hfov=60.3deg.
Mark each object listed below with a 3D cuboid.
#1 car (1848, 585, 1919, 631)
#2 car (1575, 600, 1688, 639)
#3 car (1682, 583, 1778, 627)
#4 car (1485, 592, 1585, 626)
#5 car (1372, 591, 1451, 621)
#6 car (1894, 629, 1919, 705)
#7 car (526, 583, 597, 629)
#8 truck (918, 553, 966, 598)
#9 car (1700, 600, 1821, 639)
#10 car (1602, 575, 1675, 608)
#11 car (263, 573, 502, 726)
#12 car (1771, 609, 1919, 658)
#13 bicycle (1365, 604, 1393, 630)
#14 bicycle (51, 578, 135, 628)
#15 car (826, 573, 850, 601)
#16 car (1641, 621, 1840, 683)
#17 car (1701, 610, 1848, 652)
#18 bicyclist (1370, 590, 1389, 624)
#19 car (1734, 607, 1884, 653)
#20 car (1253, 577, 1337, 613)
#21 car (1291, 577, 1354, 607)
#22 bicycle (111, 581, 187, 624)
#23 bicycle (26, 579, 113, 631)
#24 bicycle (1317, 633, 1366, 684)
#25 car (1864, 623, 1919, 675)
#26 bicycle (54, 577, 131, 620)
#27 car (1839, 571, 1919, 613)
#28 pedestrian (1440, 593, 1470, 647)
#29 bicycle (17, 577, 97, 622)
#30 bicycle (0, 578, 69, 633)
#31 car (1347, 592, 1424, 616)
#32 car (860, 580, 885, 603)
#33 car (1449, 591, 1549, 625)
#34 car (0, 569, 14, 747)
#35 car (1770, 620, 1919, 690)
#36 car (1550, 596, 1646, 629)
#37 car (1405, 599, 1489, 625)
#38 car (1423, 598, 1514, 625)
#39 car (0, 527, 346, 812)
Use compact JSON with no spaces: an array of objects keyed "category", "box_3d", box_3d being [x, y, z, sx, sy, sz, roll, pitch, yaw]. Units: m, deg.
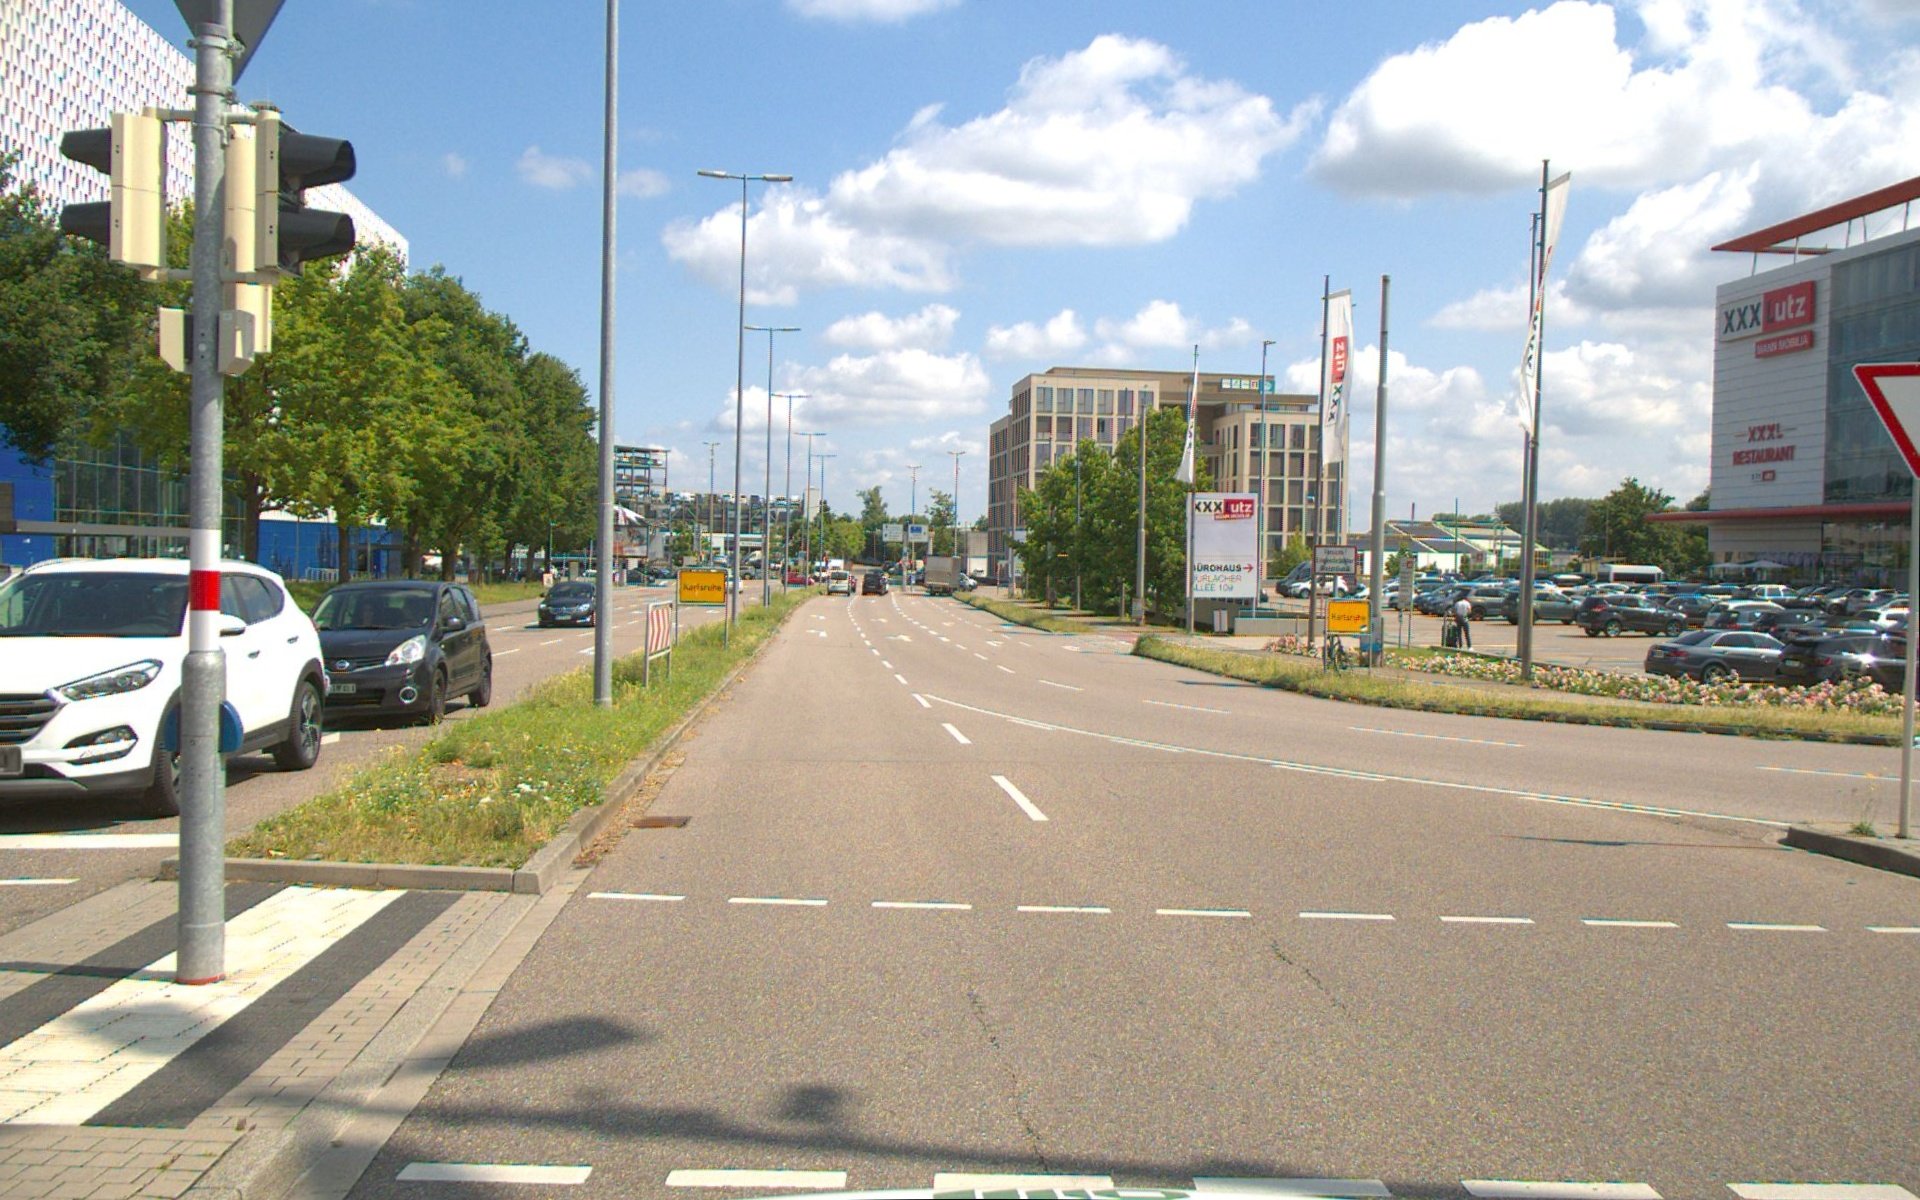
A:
[{"category":"car","box_3d":[34.097,0.326,58.840,4.067,1.534,1.824,2,1,-4]},{"category":"car","box_3d":[27.433,0.771,67.625,3.978,1.558,1.739,0,1,-9]},{"category":"car","box_3d":[39.118,0.248,84.066,3.909,2.048,1.998,2,1,-5]},{"category":"car","box_3d":[27.140,0.421,78.079,4.102,1.579,1.762,0,1,-6]},{"category":"car","box_3d":[26.084,0.332,95.635,3.911,1.598,1.997,2,0,-7]},{"category":"car","box_3d":[20.973,1.382,32.510,4.273,1.465,1.795,2,0,-5]},{"category":"car","box_3d":[-13.206,0.189,54.990,1.631,1.446,4.514,-1,0,-5]},{"category":"truck","box_3d":[-1.609,-2.305,156.976,3.063,4.009,8.866,2,1,8]},{"category":"car","box_3d":[33.164,0.795,68.563,4.205,1.452,1.758,1,2,-5]},{"category":"car","box_3d":[44.469,-0.591,108.514,3.909,1.985,1.998,2,1,-5]},{"category":"car","box_3d":[-6.369,0.496,18.688,1.572,1.519,4.127,-1,0,-5]},{"category":"car","box_3d":[28.713,1.075,53.404,4.272,1.535,1.681,0,1,-3]},{"category":"bicycle","box_3d":[18.397,0.729,72.594,0.611,1.086,1.966,1,1,-4]},{"category":"bicycle","box_3d":[-23.578,0.079,45.004,1.887,1.295,0.629,2,1,-5]},{"category":"car","box_3d":[-9.817,-1.051,132.602,1.819,2.053,3.997,2,1,-4]},{"category":"car","box_3d":[19.987,1.325,42.470,4.272,1.502,1.856,0,0,-3]},{"category":"car","box_3d":[28.709,1.069,58.373,4.272,1.386,1.846,0,2,-3]},{"category":"bicyclist","box_3d":[18.408,0.297,72.581,0.603,1.437,0.714,1,1,-4]},{"category":"car","box_3d":[28.682,0.999,55.954,4.272,1.467,1.626,0,2,-3]},{"category":"car","box_3d":[24.404,-0.360,120.555,5.550,2.407,2.059,2,0,-7]},{"category":"car","box_3d":[25.342,-0.558,115.768,3.908,2.049,1.998,0,1,-4]},{"category":"bicycle","box_3d":[-23.900,0.070,48.751,1.887,1.203,0.629,2,1,-5]},{"category":"bicycle","box_3d":[-23.537,0.129,43.739,1.887,1.295,0.629,2,1,-5]},{"category":"bicycle","box_3d":[7.813,1.191,33.941,0.507,0.969,1.542,2,0,-5]},{"category":"car","box_3d":[29.130,1.421,48.503,4.272,1.386,1.846,0,2,-3]},{"category":"bicycle","box_3d":[-25.909,-0.042,49.406,1.887,1.204,0.629,2,1,-5]},{"category":"car","box_3d":[47.770,-0.403,85.208,3.909,2.048,1.998,2,1,-5]},{"category":"pedestrian","box_3d":[17.172,0.674,57.357,0.852,1.813,0.783,2,1,25]},{"category":"bicycle","box_3d":[-25.848,-0.010,47.366,1.887,1.200,0.629,2,1,-5]},{"category":"bicycle","box_3d":[-23.380,0.135,41.267,1.887,1.295,0.629,2,1,-5]},{"category":"car","box_3d":[25.823,0.251,100.400,4.105,1.413,1.890,0,1,-8]},{"category":"car","box_3d":[-7.520,-0.715,142.146,1.782,1.840,4.000,3,0,0]},{"category":"car","box_3d":[26.863,0.382,82.499,4.275,1.601,2.028,0,1,-6]},{"category":"car","box_3d":[-9.568,0.524,13.448,1.736,1.644,3.995,-1,-1,-5]},{"category":"car","box_3d":[20.868,1.248,37.336,4.273,1.441,1.855,2,0,-5]},{"category":"car","box_3d":[32.117,0.610,83.275,4.158,1.489,1.758,2,1,-6]},{"category":"car","box_3d":[26.536,0.661,90.220,4.102,1.348,1.686,0,1,-5]},{"category":"car","box_3d":[27.005,0.608,87.930,4.275,1.348,1.762,0,1,-6]},{"category":"car","box_3d":[-5.864,0.419,11.756,1.674,1.648,4.373,0,0,-5]}]
